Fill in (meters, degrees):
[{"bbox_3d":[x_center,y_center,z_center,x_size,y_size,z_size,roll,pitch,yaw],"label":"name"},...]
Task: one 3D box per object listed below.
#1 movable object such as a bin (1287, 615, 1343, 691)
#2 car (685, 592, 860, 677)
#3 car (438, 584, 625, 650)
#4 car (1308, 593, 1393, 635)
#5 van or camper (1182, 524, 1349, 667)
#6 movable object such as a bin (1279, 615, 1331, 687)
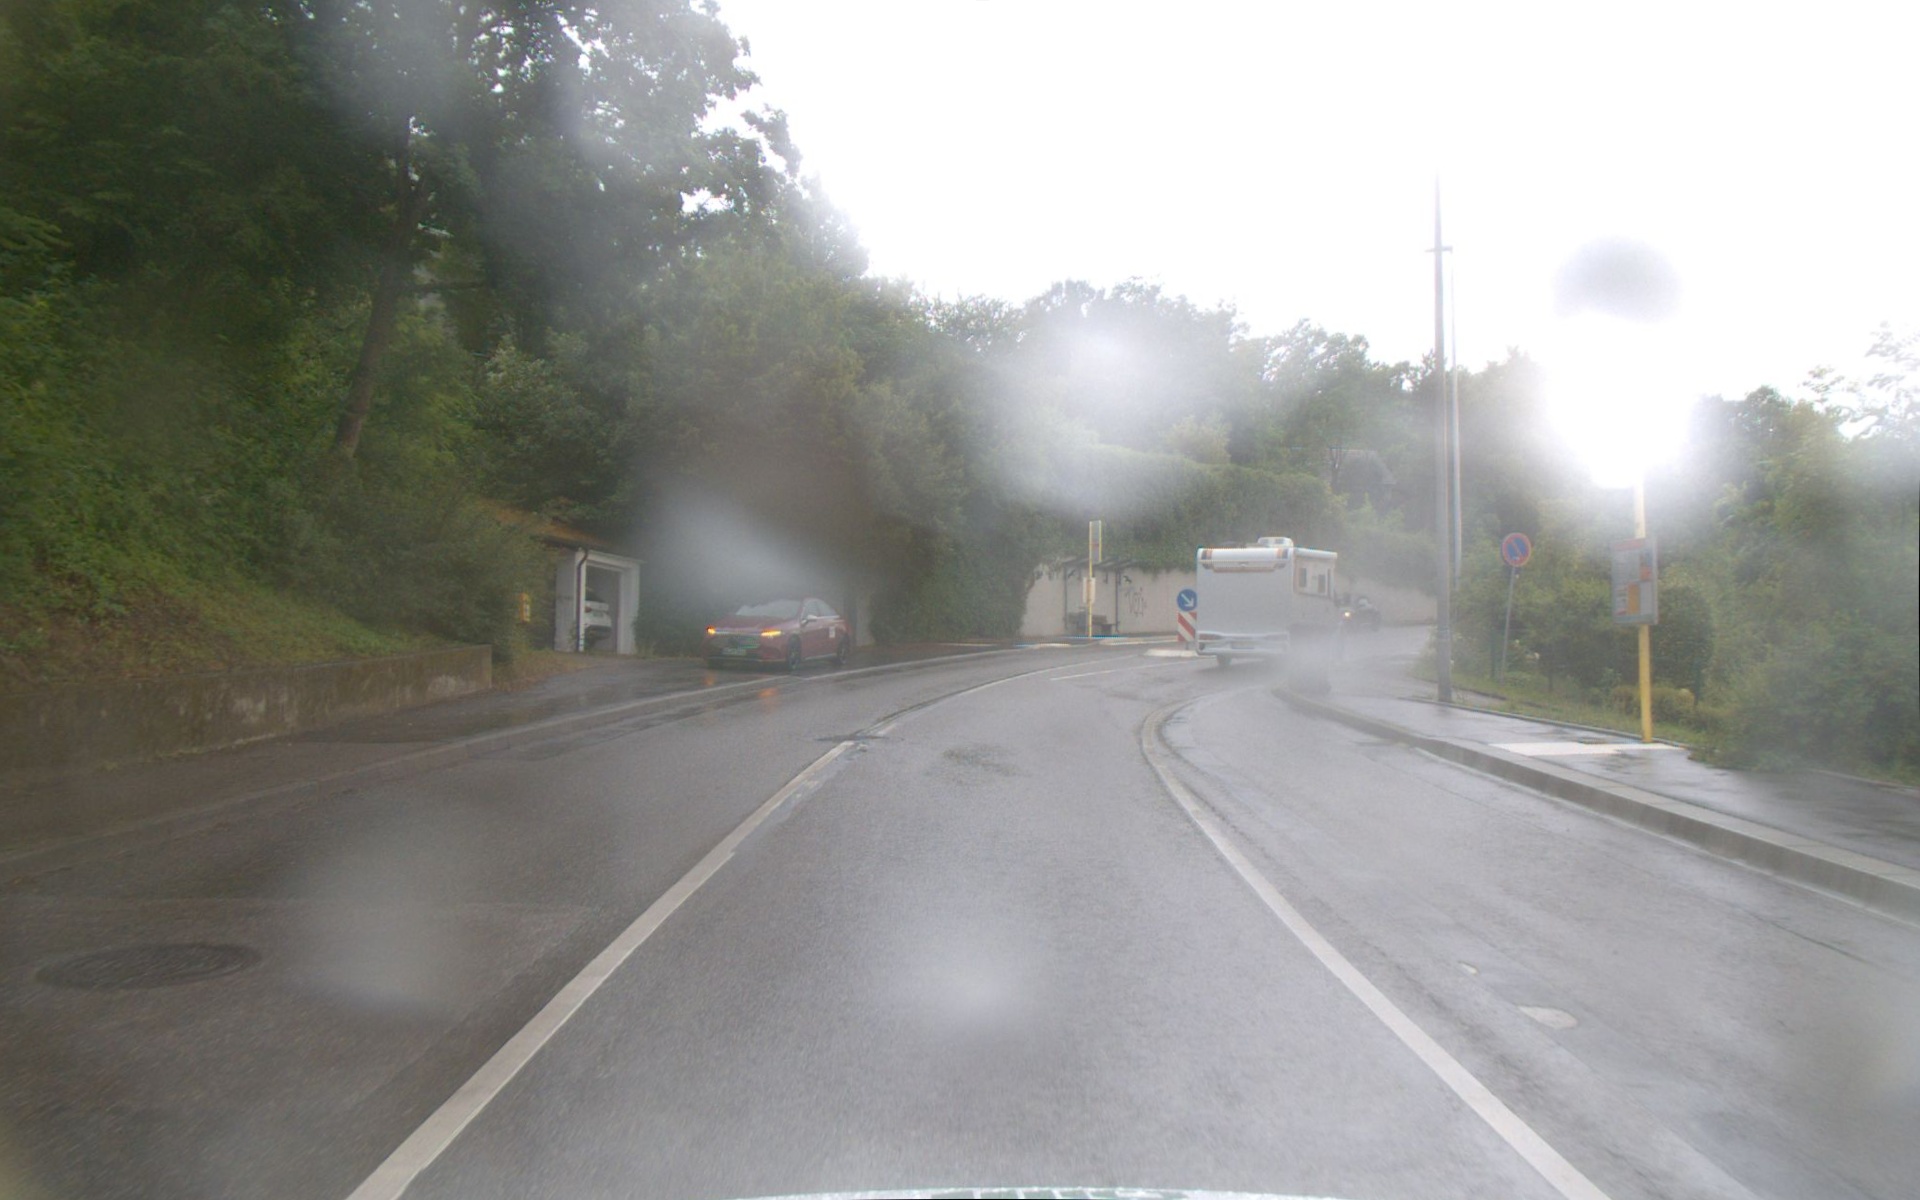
[{"bbox_3d":[5.525,0.816,25.773,0.761,1.153,0.738,1,0,6],"label":"movable object such as a bin"},{"bbox_3d":[-3.736,0.643,33.826,1.951,1.589,4.656,1,0,15],"label":"car"},{"bbox_3d":[-10.227,0.386,39.539,3.902,1.530,1.880,0,0,15],"label":"car"},{"bbox_3d":[15.219,0.537,64.401,1.698,1.440,3.983,-4,-1,37],"label":"car"},{"bbox_3d":[7.313,-0.118,39.044,2.489,2.976,5.946,-4,-1,23],"label":"van or camper"},{"bbox_3d":[5.669,0.829,27.184,0.761,1.153,0.738,1,0,6],"label":"movable object such as a bin"}]
